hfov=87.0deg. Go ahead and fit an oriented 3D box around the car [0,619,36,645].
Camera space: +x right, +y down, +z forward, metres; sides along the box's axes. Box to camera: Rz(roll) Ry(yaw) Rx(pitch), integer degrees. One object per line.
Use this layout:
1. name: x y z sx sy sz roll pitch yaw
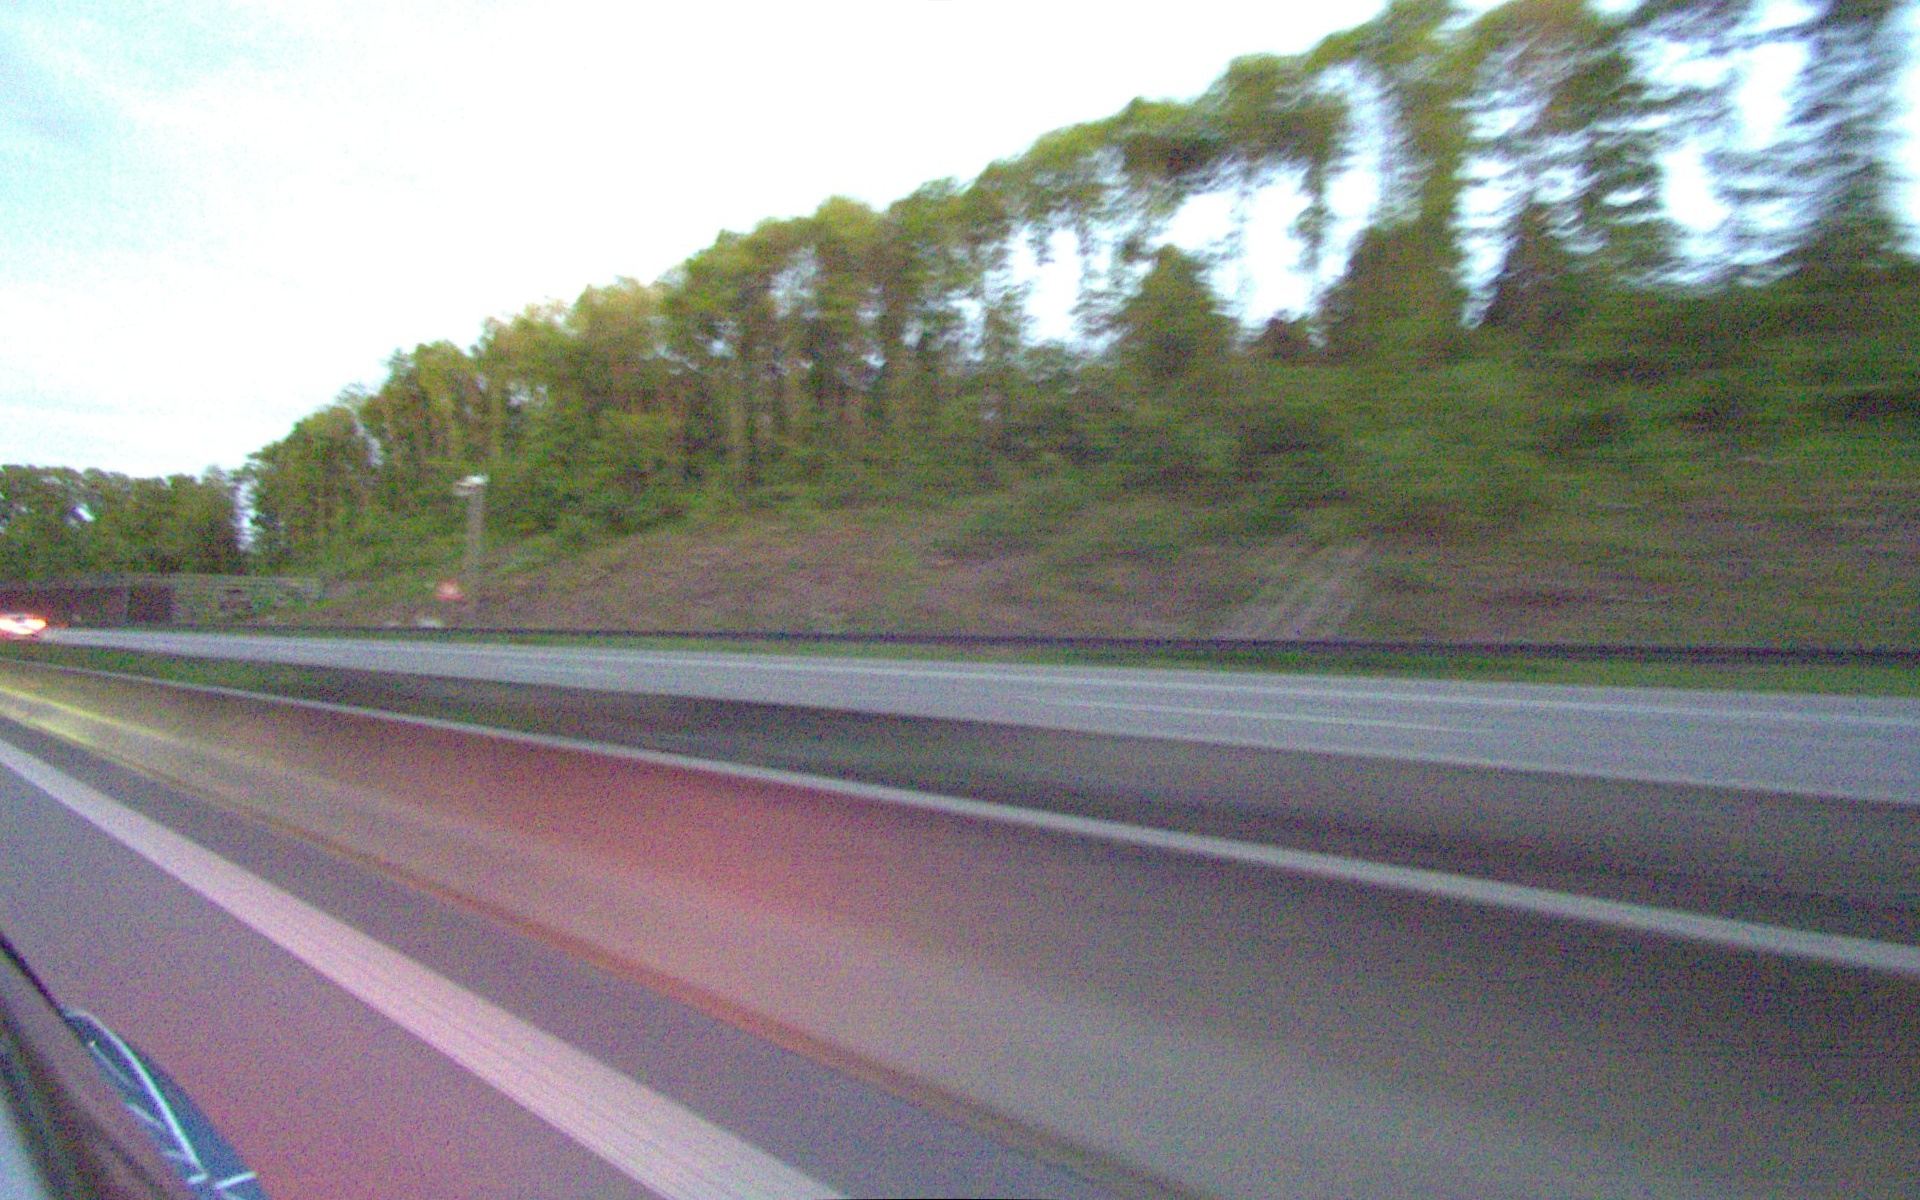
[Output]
1. car: -57.073 1.896 60.965 4.227 1.500 1.581 -1 -1 40
